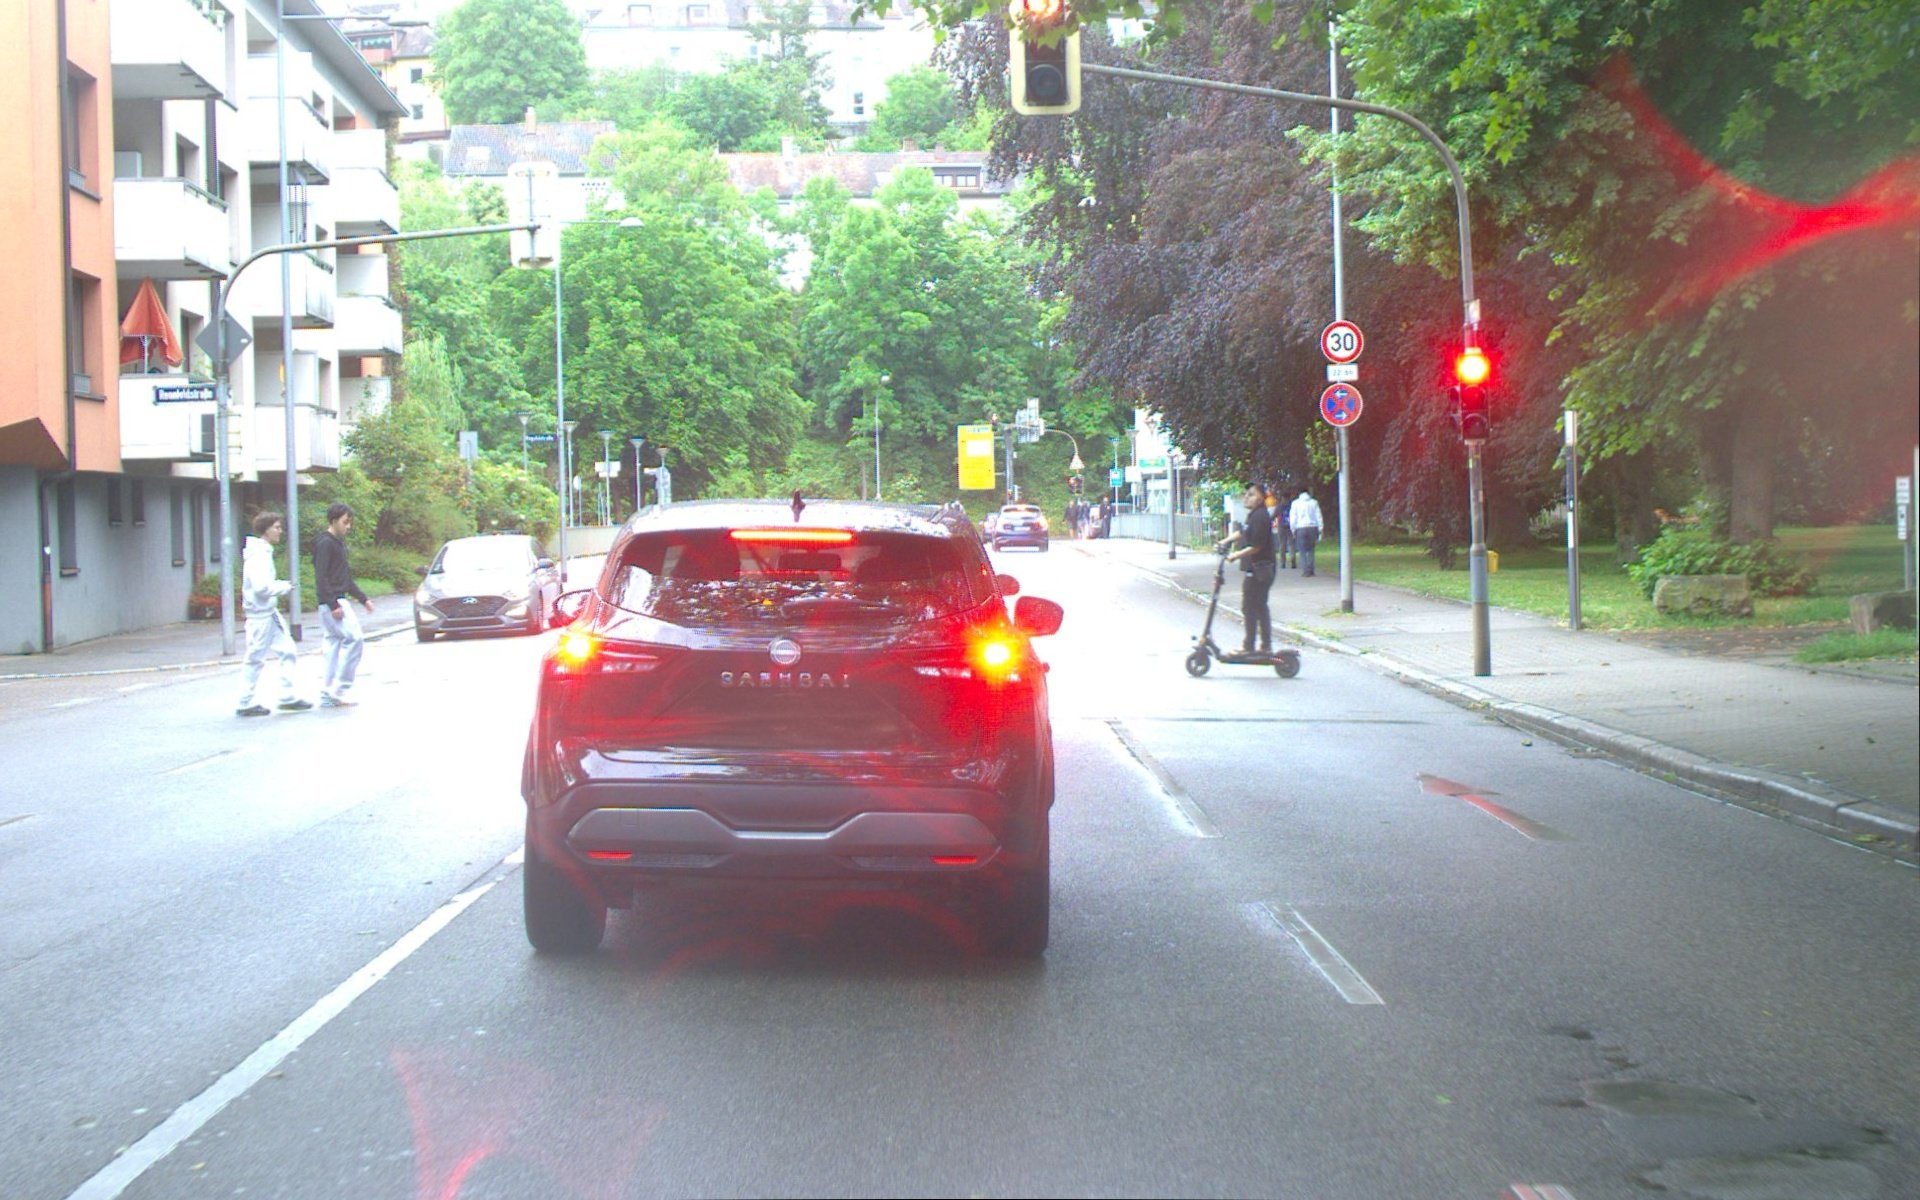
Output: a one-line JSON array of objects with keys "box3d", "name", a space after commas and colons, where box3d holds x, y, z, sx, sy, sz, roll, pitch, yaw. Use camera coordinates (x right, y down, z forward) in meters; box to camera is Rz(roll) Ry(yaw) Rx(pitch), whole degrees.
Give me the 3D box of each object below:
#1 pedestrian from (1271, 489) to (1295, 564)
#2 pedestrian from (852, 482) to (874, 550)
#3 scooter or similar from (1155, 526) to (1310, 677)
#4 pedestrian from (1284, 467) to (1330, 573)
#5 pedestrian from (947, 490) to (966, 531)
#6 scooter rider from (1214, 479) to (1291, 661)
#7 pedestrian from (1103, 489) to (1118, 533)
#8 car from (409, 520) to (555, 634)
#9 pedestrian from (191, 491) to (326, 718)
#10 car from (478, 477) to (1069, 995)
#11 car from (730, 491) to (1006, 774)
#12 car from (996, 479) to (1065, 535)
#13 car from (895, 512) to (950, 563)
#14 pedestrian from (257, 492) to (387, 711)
[{"box3d": [6.572, -1.499, 69.939, 0.390, 1.497, 0.559, -2, 1, 0], "name": "pedestrian"}, {"box3d": [-2.587, -2.238, 91.779, 0.508, 1.795, 0.619, -2, 1, -4], "name": "pedestrian"}, {"box3d": [2.675, 0.017, 33.689, 1.394, 1.441, 0.816, -1, 0, 12], "name": "scooter or similar"}, {"box3d": [6.656, -1.539, 65.975, 0.725, 2.007, 0.851, -2, 1, 0], "name": "pedestrian"}, {"box3d": [-0.150, -3.757, 144.399, 0.509, 1.667, 0.658, -1, 1, 27], "name": "pedestrian"}, {"box3d": [2.865, -0.292, 33.668, 0.643, 1.760, 0.735, -1, 0, 12], "name": "scooter rider"}, {"box3d": [6.145, -3.632, 140.534, 0.508, 1.795, 0.619, -2, 1, -1], "name": "pedestrian"}, {"box3d": [-6.946, -0.365, 50.268, 1.795, 1.528, 3.868, -2, 1, -4], "name": "car"}, {"box3d": [-6.003, 0.030, 29.452, 1.035, 1.869, 0.658, -3, 1, -11], "name": "pedestrian"}, {"box3d": [-0.624, 0.393, 13.181, 1.913, 1.674, 4.000, 0, 1, 0], "name": "car"}, {"box3d": [-0.602, 0.161, 23.642, 1.698, 1.739, 3.641, -2, 1, -1], "name": "car"}, {"box3d": [2.300, -2.996, 111.268, 1.994, 1.729, 4.000, 1, 1, 4], "name": "car"}, {"box3d": [-1.174, -1.975, 107.779, 1.634, 1.527, 3.968, -2, 1, -1], "name": "car"}, {"box3d": [-5.639, 0.007, 30.392, 1.035, 1.869, 0.658, -3, 1, -11], "name": "pedestrian"}]
